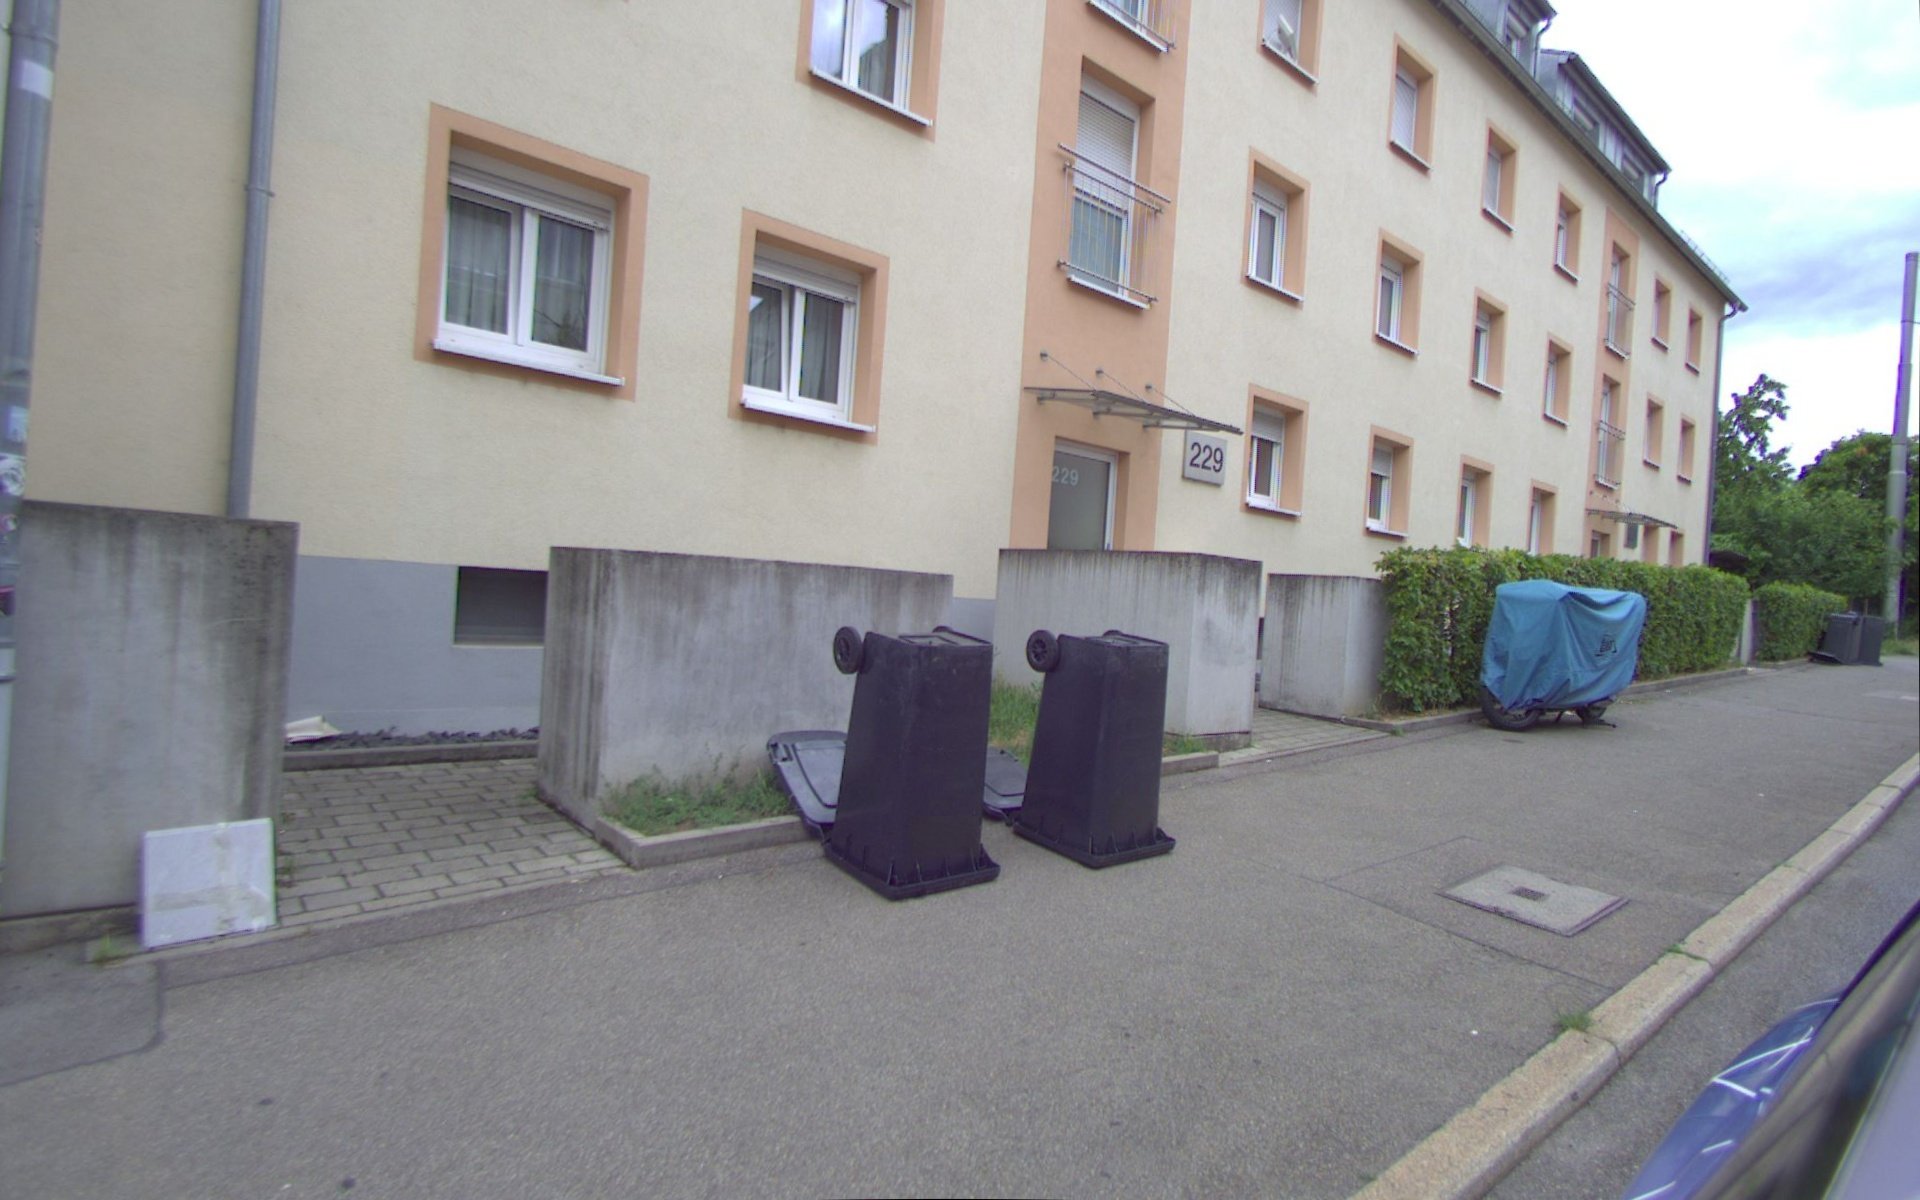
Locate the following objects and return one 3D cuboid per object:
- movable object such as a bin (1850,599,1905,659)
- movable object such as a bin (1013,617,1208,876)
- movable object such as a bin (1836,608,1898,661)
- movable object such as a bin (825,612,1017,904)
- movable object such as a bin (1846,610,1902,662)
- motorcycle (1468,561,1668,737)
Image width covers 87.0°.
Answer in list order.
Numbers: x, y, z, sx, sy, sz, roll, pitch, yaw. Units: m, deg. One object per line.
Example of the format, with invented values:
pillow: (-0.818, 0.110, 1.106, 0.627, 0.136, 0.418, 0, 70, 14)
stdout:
movable object such as a bin: (19.773, 0.613, 21.807, 0.776, 1.233, 0.792, 0, 2, -44)
movable object such as a bin: (0.718, 0.644, 4.842, 0.679, 1.093, 0.590, 1, 2, -39)
movable object such as a bin: (18.473, 0.692, 20.623, 0.775, 1.024, 0.794, 1, 2, -39)
movable object such as a bin: (-0.173, 0.617, 4.315, 0.531, 1.093, 0.613, 1, 2, -39)
movable object such as a bin: (19.165, 0.745, 21.226, 0.776, 1.024, 0.792, 0, 2, -44)
motorcycle: (5.879, 0.407, 9.704, 2.507, 1.474, 0.840, 0, 2, -40)
